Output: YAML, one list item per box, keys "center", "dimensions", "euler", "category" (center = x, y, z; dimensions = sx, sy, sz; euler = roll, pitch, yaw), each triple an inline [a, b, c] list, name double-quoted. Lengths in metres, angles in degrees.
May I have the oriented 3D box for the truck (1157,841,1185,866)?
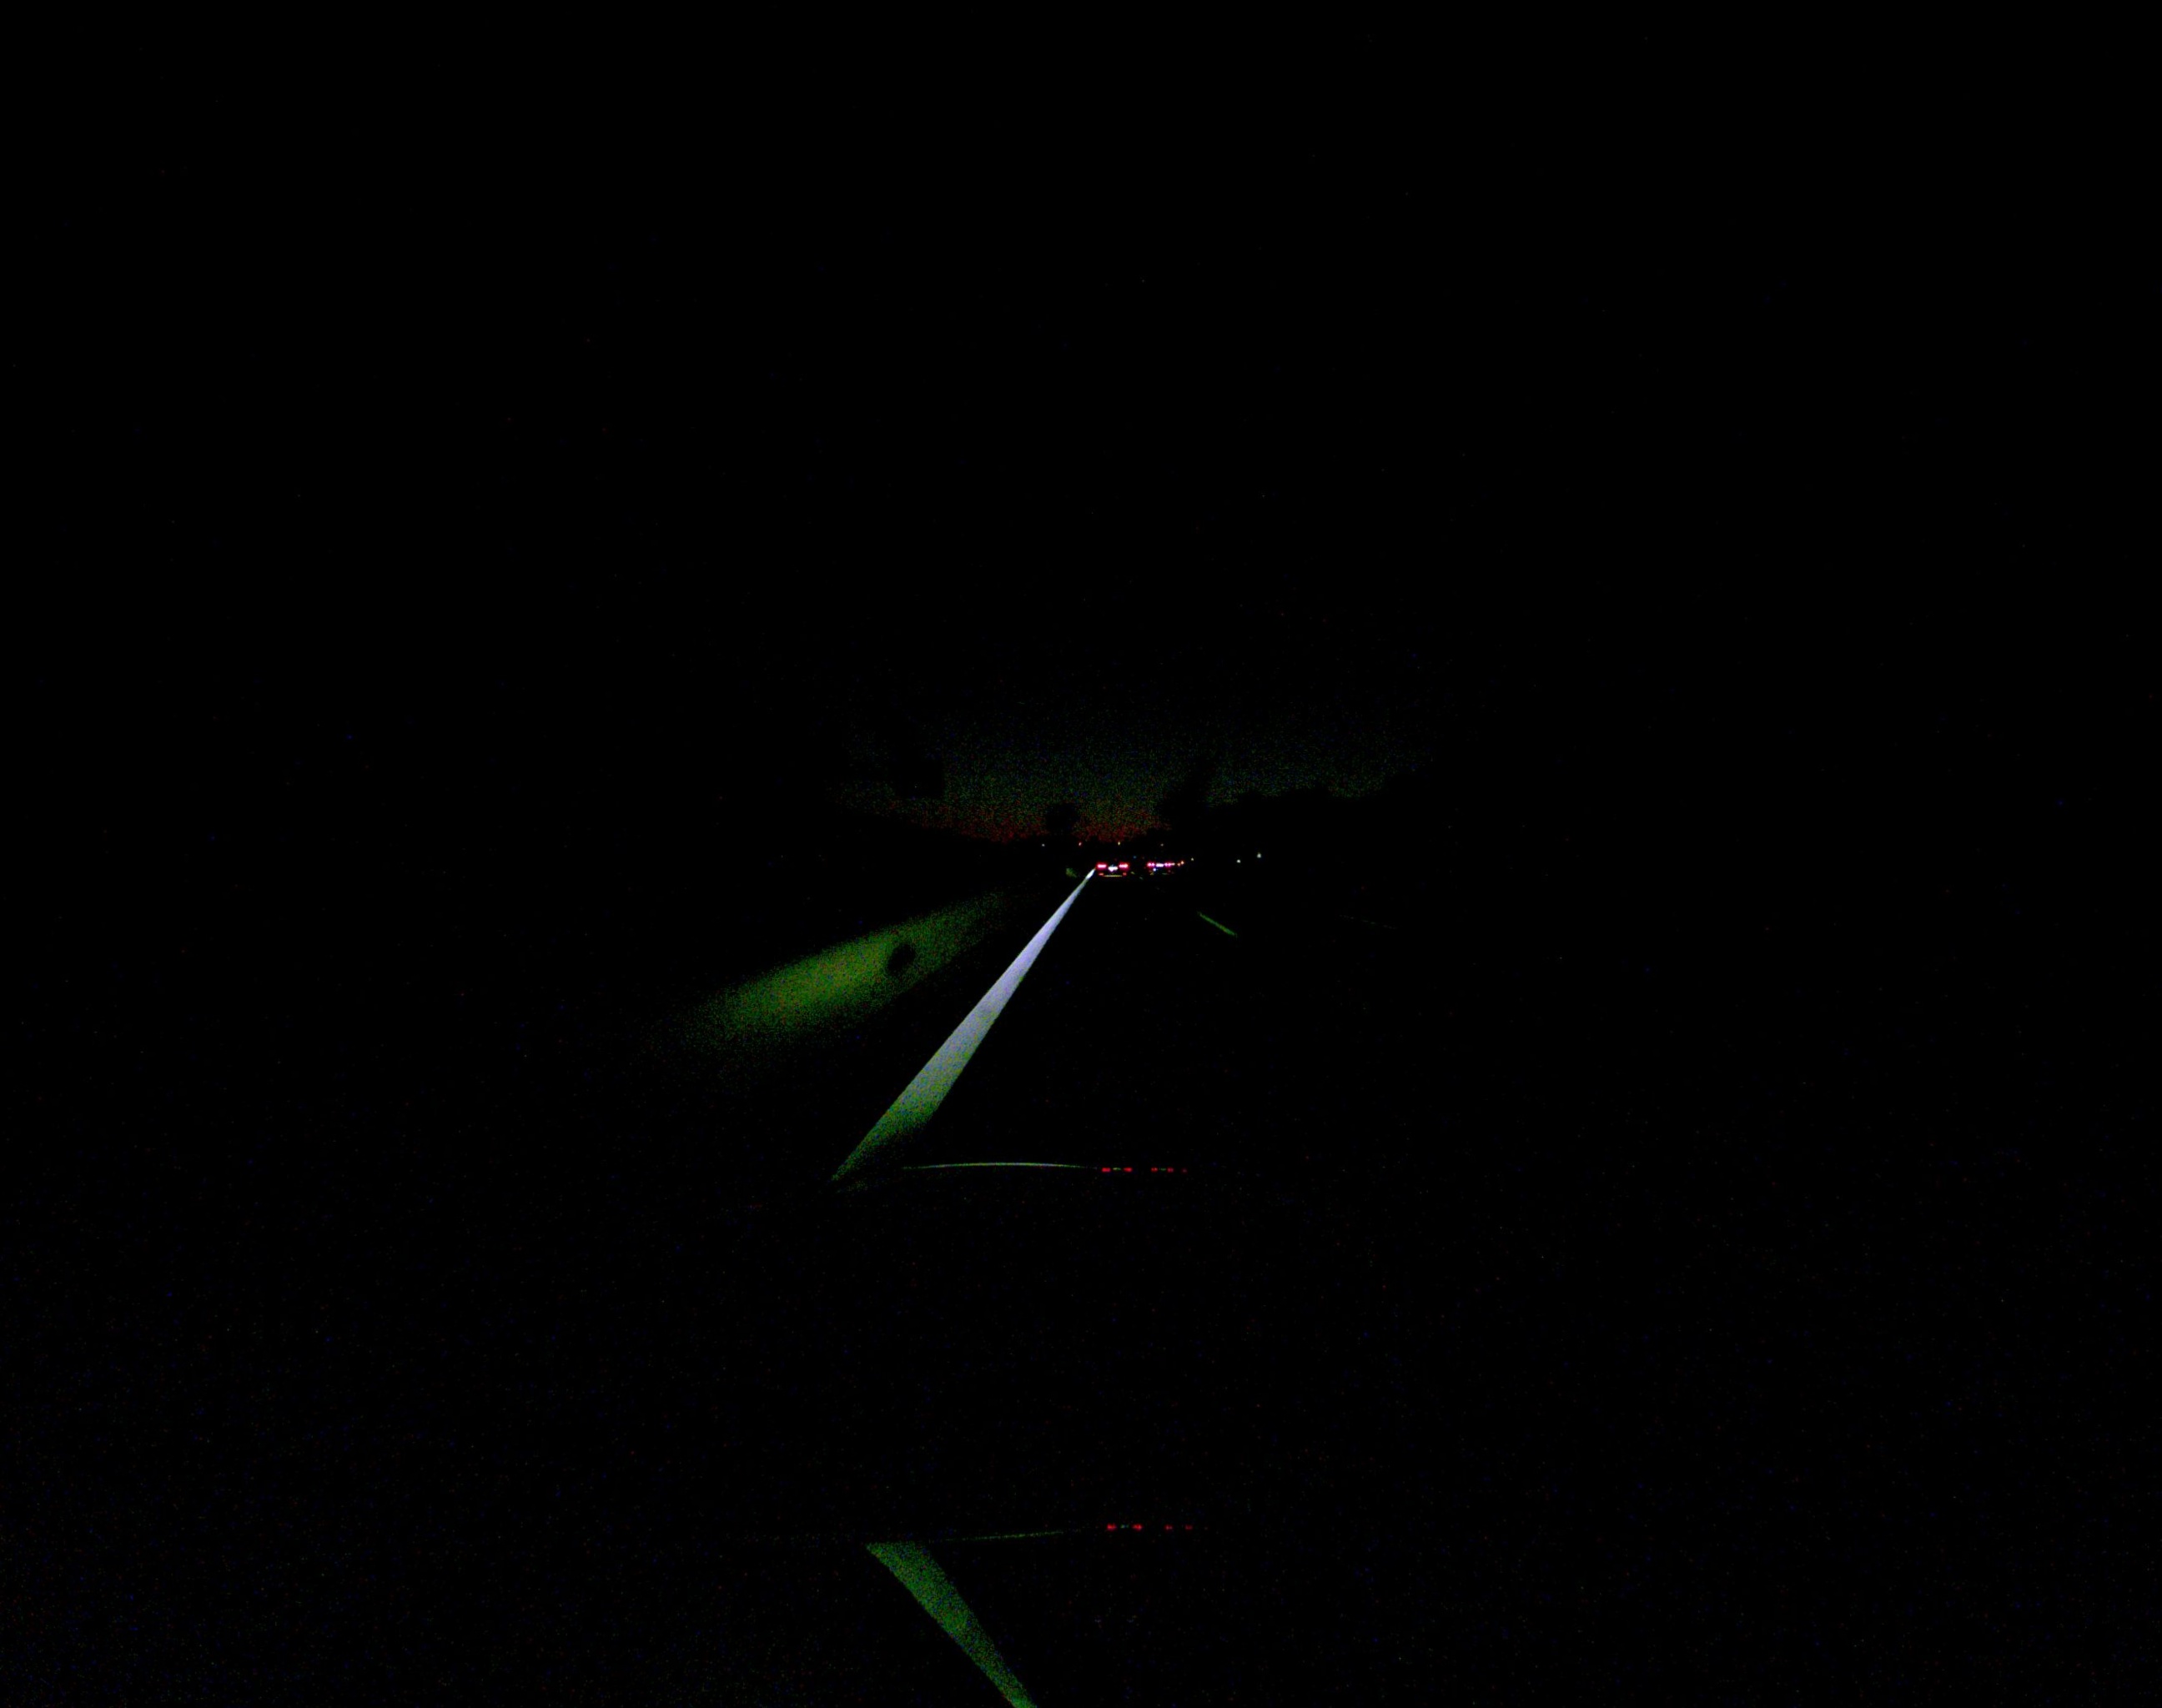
- center: [11.069, -0.058, 100.959]
  dimensions: [2.594, 2.875, 7.486]
  euler: [4, 0, 1]
  category: "truck"

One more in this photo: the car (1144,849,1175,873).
- center: [5.779, 0.505, 60.205]
  dimensions: [1.905, 1.730, 3.999]
  euler: [0, 0, 0]
  category: "car"

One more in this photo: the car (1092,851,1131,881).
- center: [1.685, 0.662, 46.653]
  dimensions: [2.099, 1.618, 4.204]
  euler: [1, 0, 0]
  category: "car"
